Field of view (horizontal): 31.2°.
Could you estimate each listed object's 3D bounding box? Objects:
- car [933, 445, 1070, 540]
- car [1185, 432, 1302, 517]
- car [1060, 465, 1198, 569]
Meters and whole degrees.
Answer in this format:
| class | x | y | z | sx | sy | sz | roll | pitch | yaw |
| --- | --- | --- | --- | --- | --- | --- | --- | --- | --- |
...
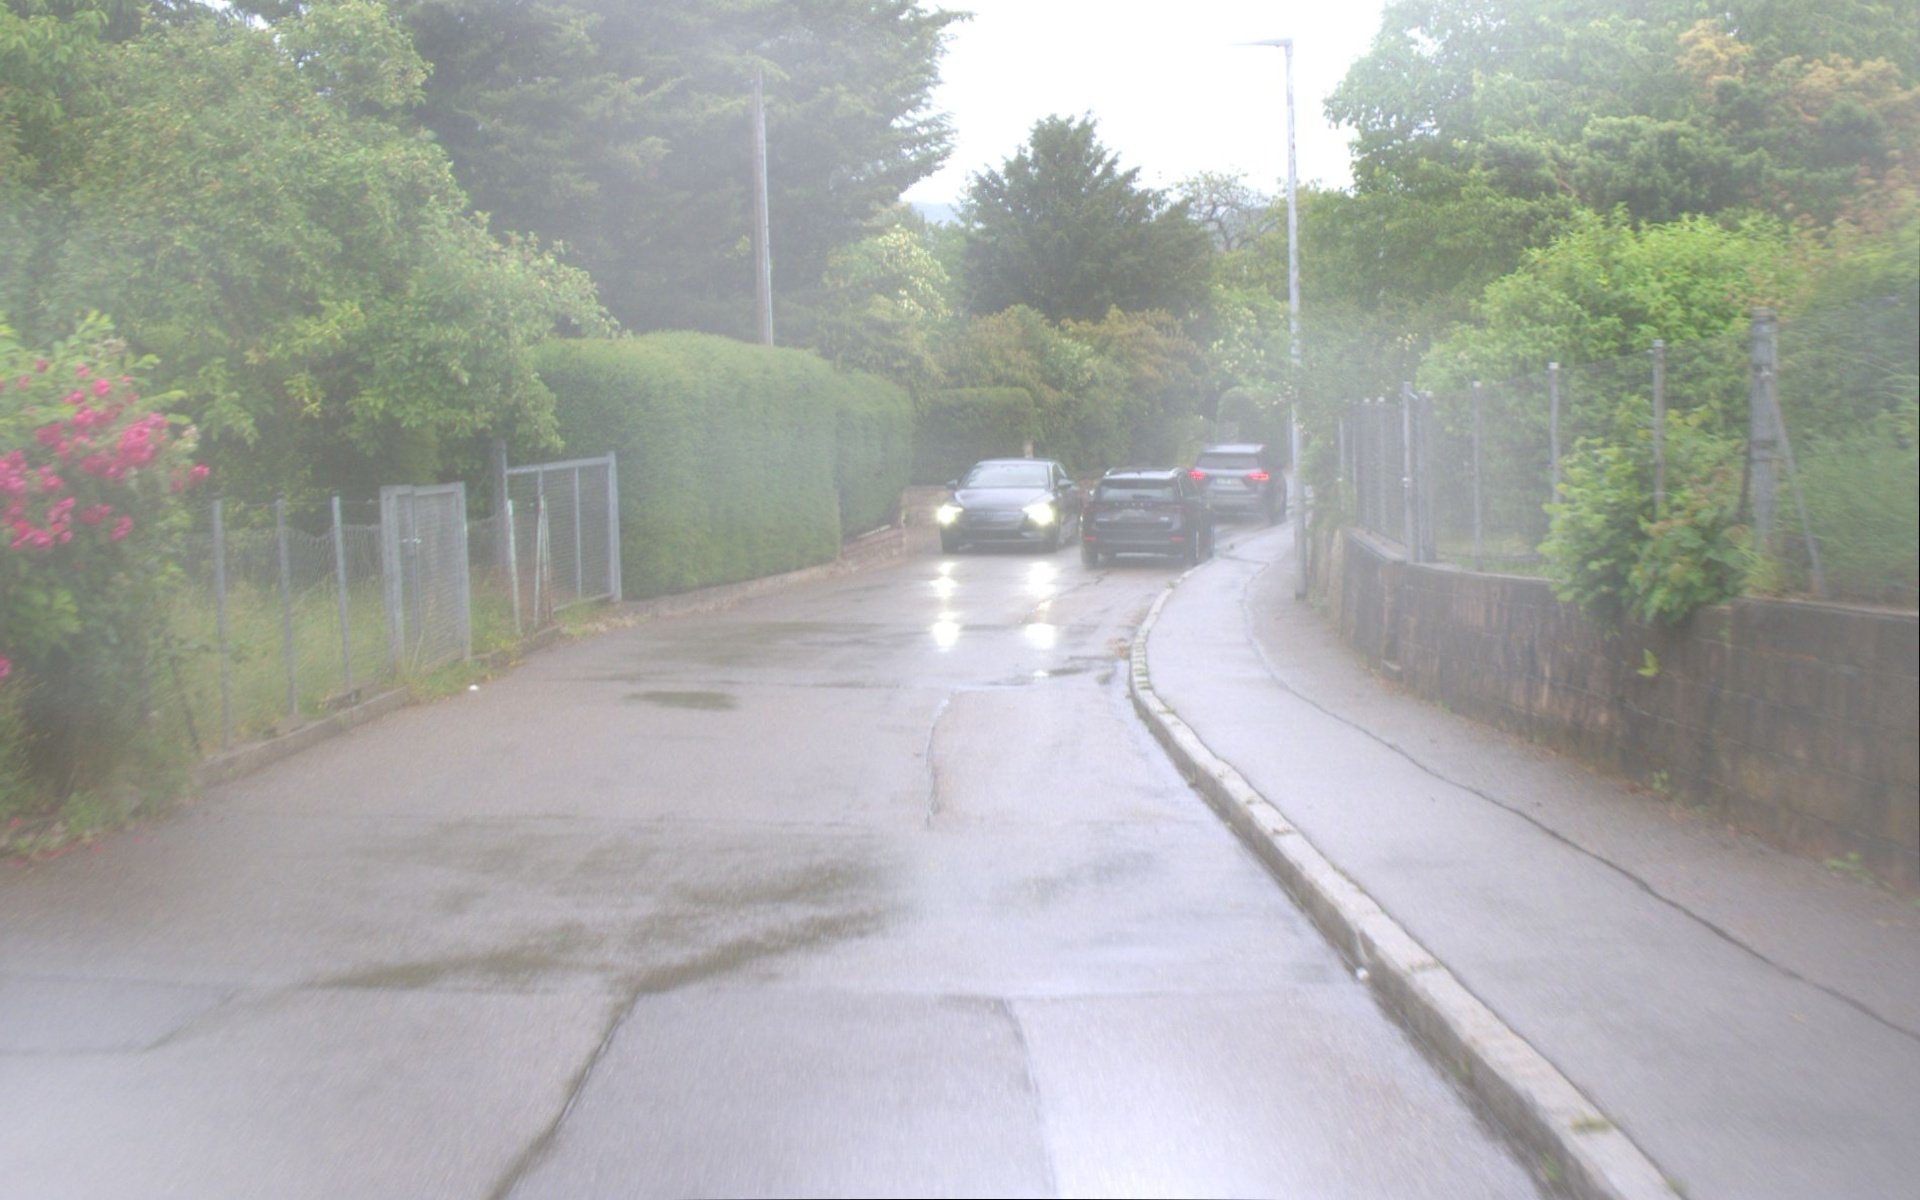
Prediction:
| class | x | y | z | sx | sy | sz | roll | pitch | yaw |
| --- | --- | --- | --- | --- | --- | --- | --- | --- | --- |
| car | 0.716 | -1.807 | 56.932 | 1.781 | 1.488 | 3.830 | 1 | 3 | 8 |
| car | 5.768 | -2.561 | 69.621 | 1.679 | 1.559 | 3.792 | 3 | 4 | 15 |
| car | 2.625 | -1.289 | 52.580 | 1.835 | 1.459 | 4.000 | 3 | 2 | 6 |
